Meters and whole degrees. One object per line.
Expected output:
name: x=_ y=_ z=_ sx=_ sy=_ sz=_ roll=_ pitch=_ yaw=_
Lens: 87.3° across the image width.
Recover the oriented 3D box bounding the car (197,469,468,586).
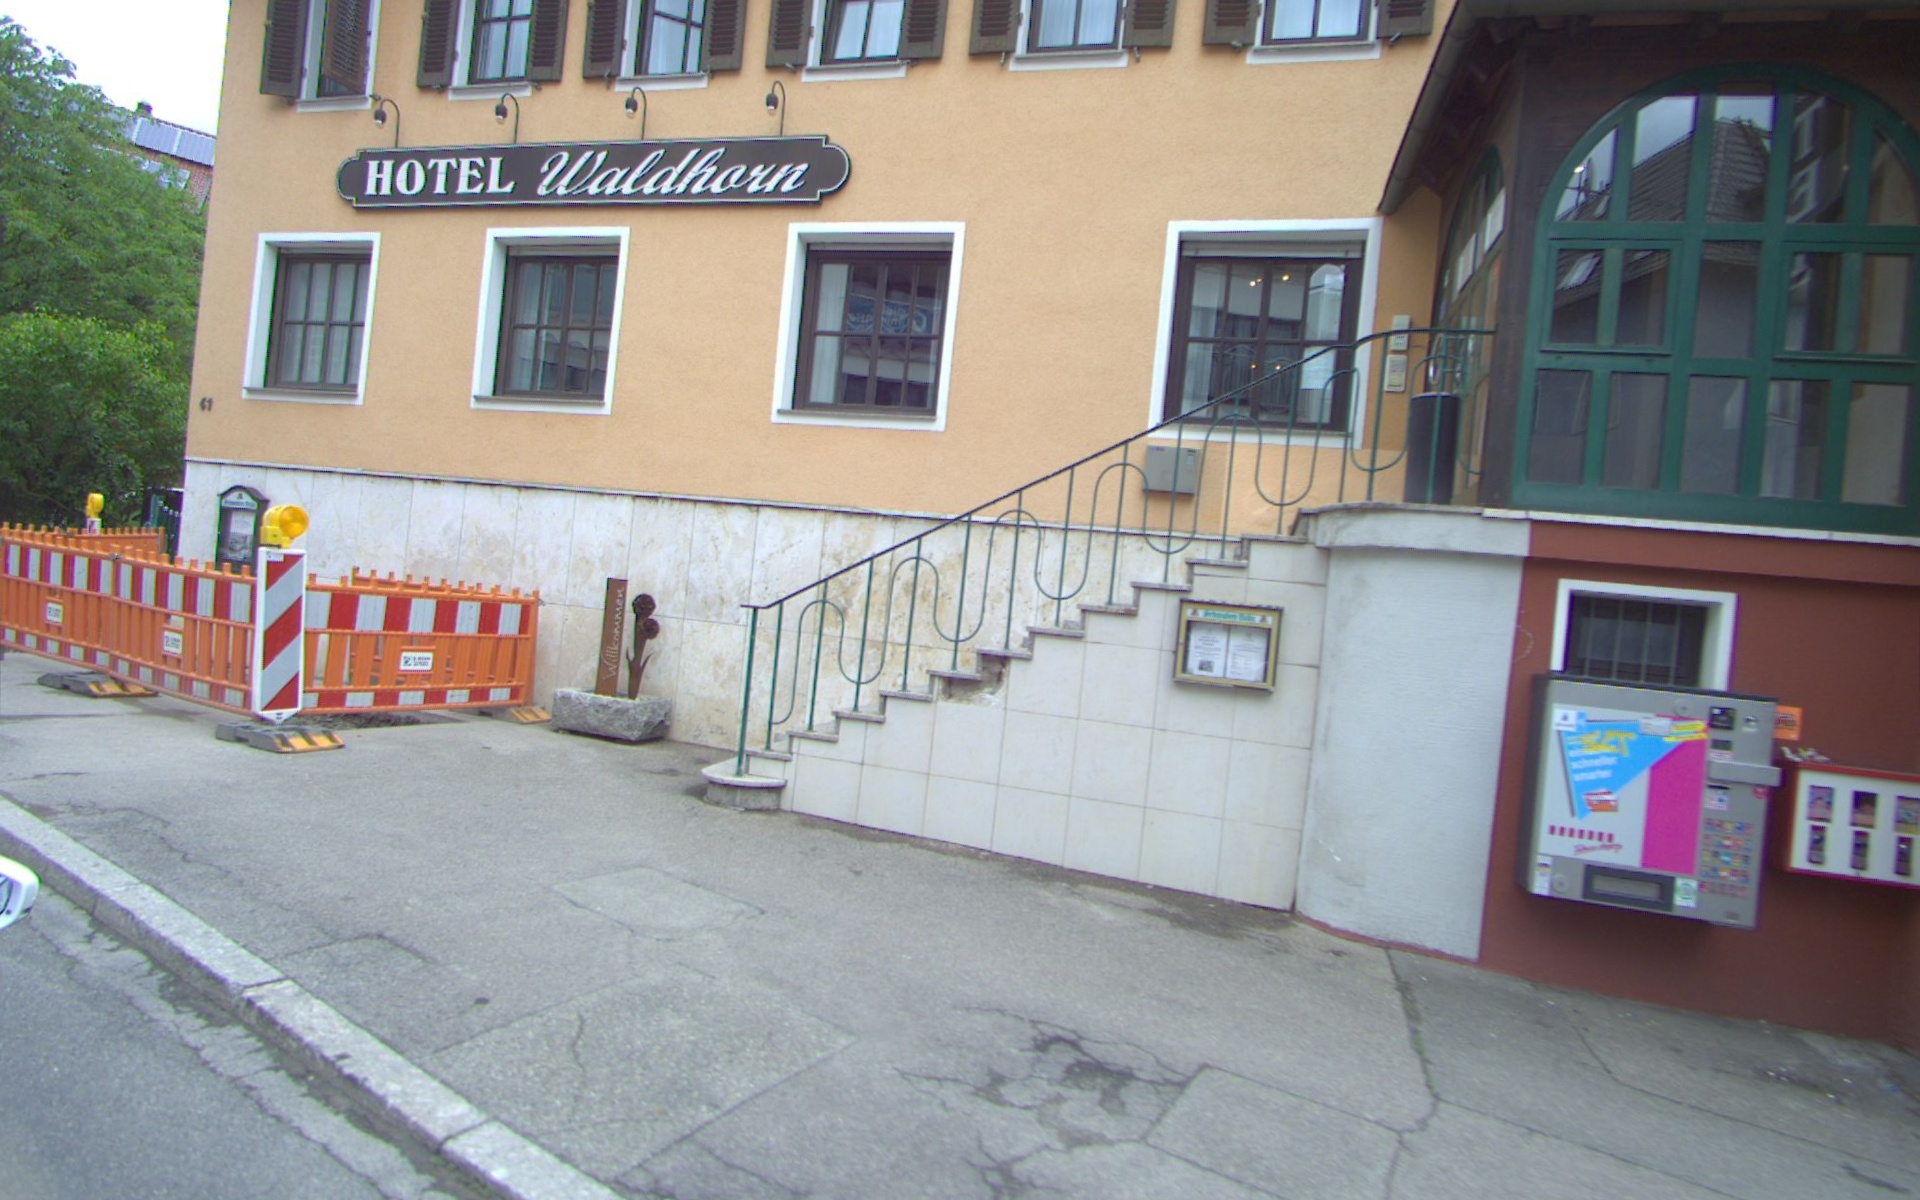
car: x=-11.917 y=-1.326 z=19.397 sx=1.717 sy=1.581 sz=3.995 roll=6 pitch=-1 yaw=29

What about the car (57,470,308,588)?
car: x=-18.005 y=-1.589 z=23.597 sx=4.177 sy=2.058 sz=1.987 roll=7 pitch=0 yaw=-27
